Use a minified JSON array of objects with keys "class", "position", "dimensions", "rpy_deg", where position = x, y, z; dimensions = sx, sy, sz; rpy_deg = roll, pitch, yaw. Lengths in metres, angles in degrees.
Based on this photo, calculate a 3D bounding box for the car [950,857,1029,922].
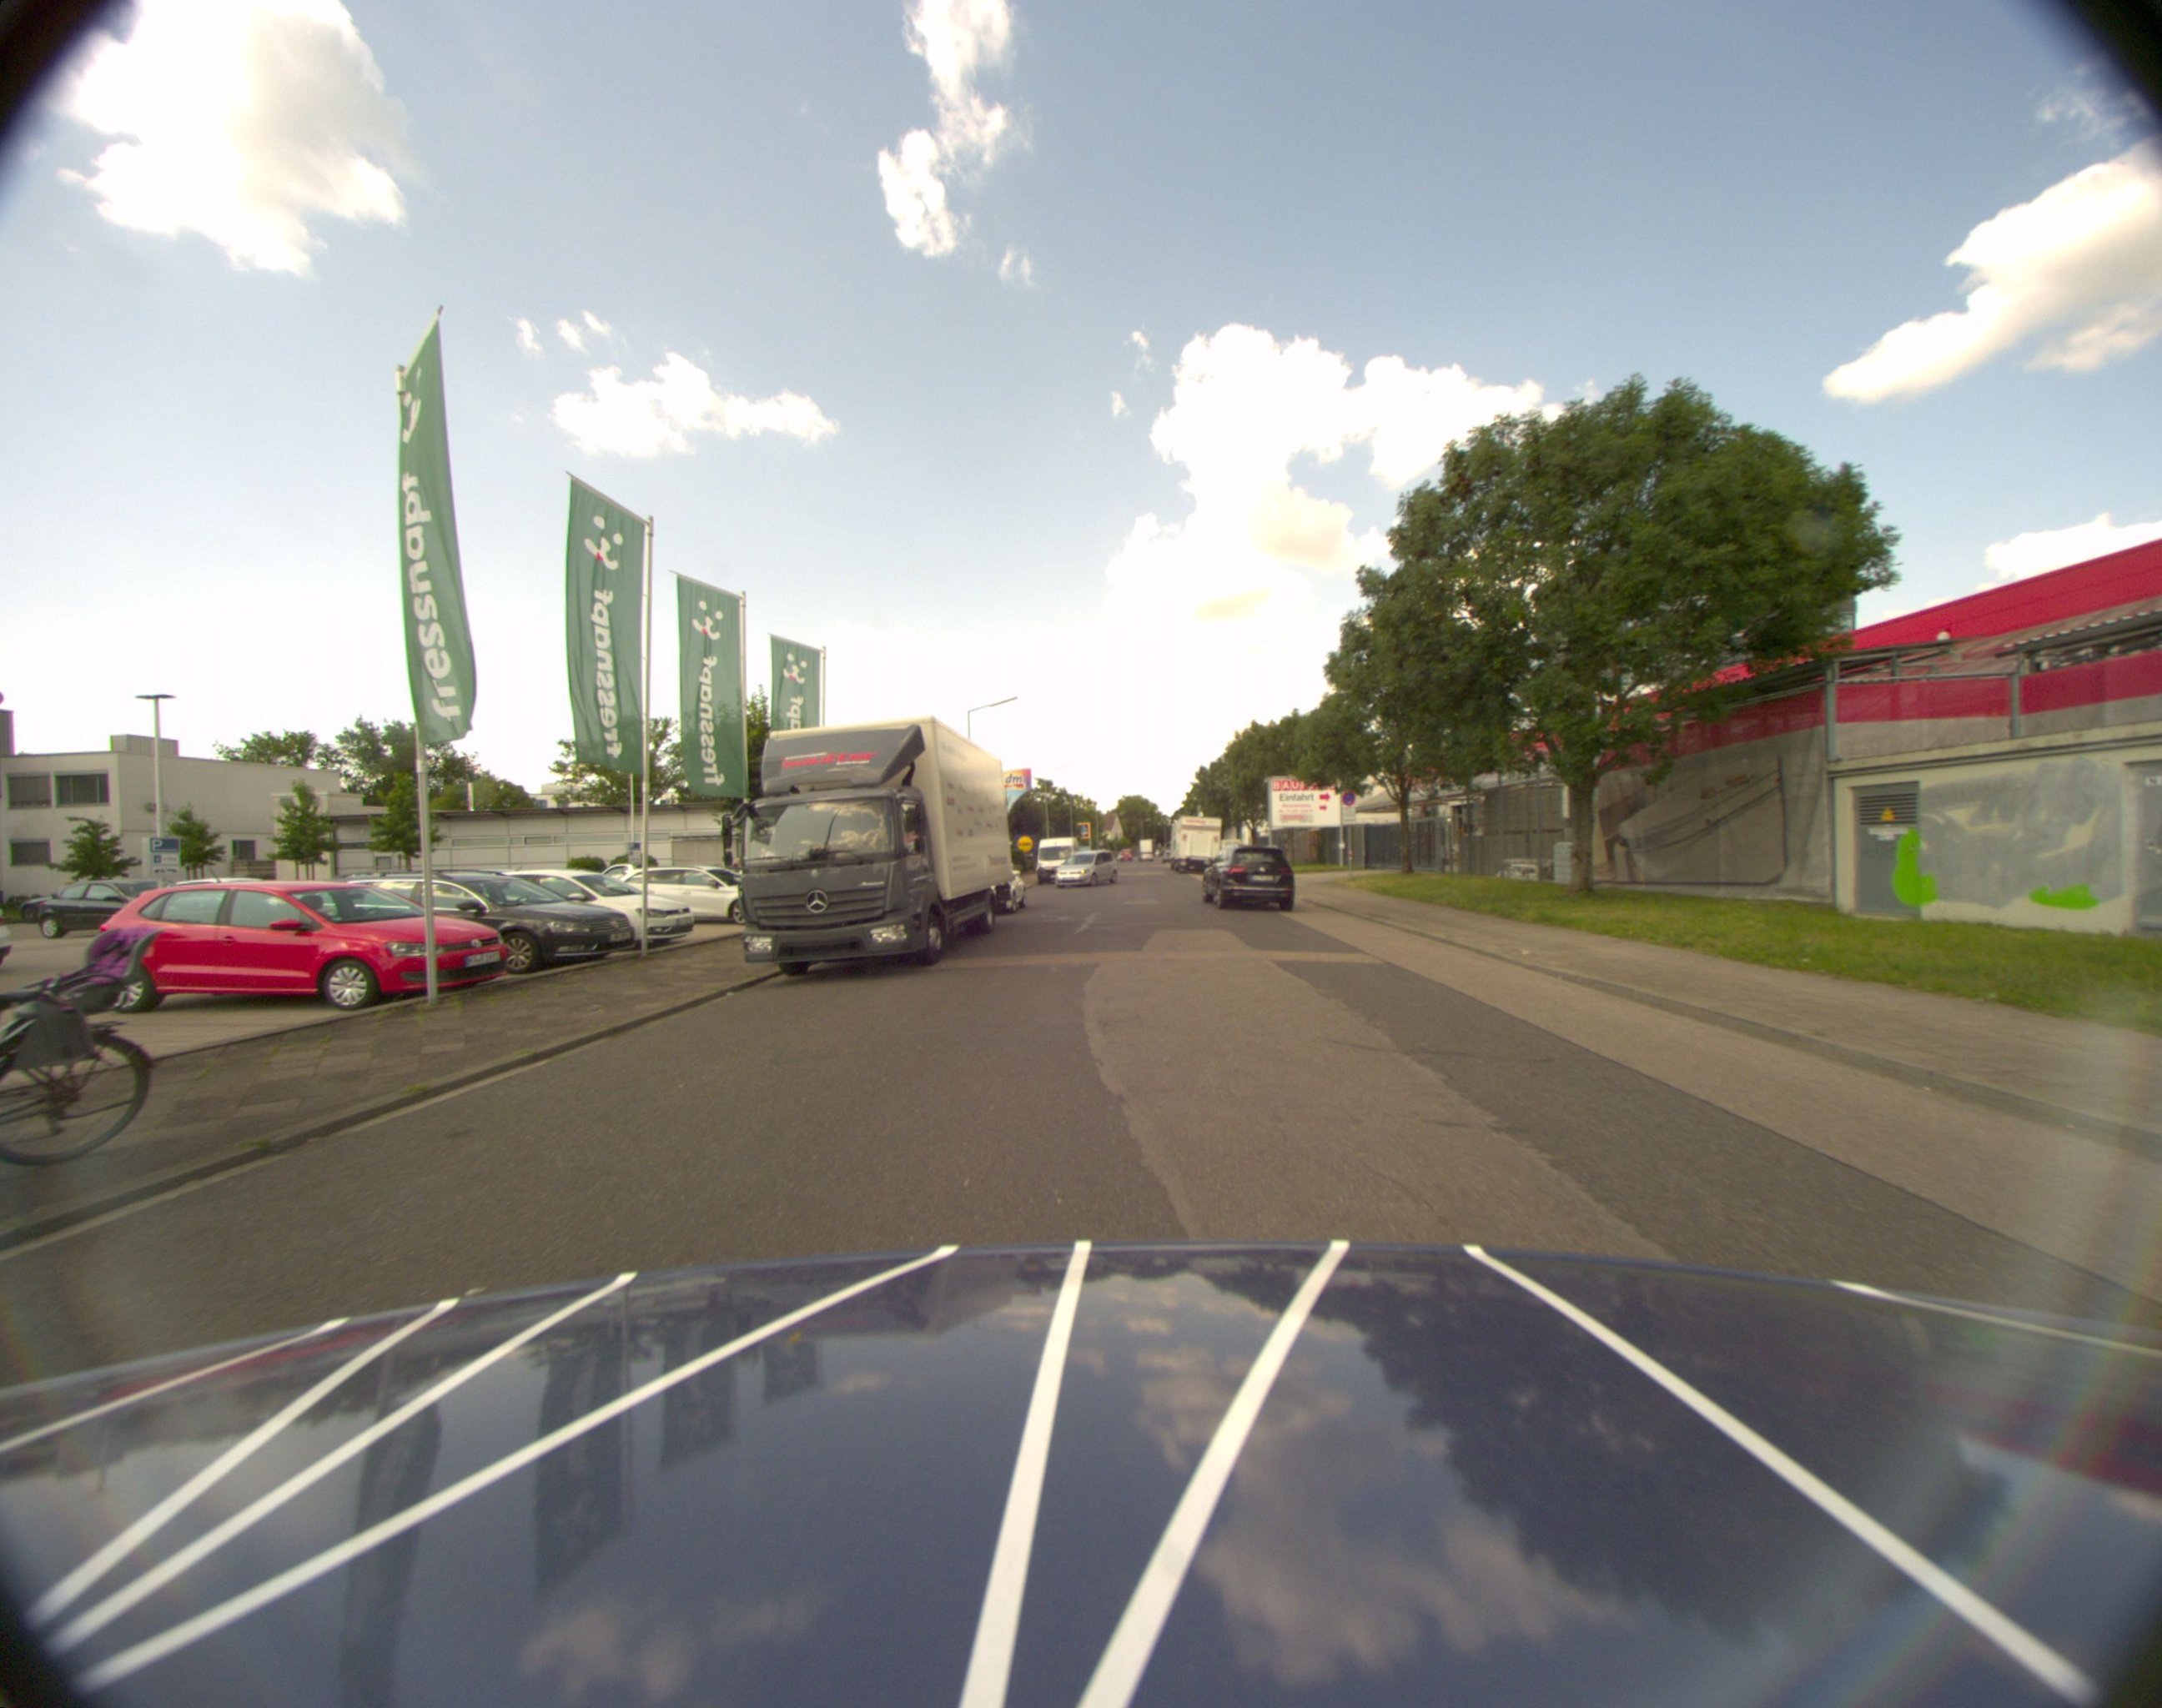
[{"class":"car","position":[-2.487,0.932,21.479],"dimensions":[1.549,1.502,3.626],"rpy_deg":[-4,0,2]}]

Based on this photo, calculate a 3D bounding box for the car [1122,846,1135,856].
[{"class":"car","position":[6.983,-0.479,112.100],"dimensions":[1.856,1.467,4.001],"rpy_deg":[-2,1,4]}]

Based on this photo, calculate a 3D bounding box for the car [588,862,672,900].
[{"class":"car","position":[-20.072,1.194,33.882],"dimensions":[2.716,1.534,1.647],"rpy_deg":[-2,1,3]}]

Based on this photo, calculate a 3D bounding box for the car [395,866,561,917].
[{"class":"car","position":[-19.294,1.170,24.408],"dimensions":[3.945,1.475,1.724],"rpy_deg":[-1,1,2]}]

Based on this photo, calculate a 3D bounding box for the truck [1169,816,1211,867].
[{"class":"truck","position":[8.624,-0.989,60.735],"dimensions":[2.754,3.787,7.173],"rpy_deg":[0,1,4]}]

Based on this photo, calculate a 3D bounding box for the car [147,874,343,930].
[{"class":"car","position":[-24.817,1.406,22.646],"dimensions":[3.945,1.475,1.724],"rpy_deg":[-1,1,2]}]

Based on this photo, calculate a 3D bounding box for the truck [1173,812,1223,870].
[{"class":"truck","position":[7.951,-0.887,52.321],"dimensions":[2.754,3.702,7.172],"rpy_deg":[0,1,4]}]

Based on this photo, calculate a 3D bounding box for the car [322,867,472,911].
[{"class":"car","position":[-25.022,1.257,27.899],"dimensions":[3.945,1.475,1.724],"rpy_deg":[-1,1,2]}]

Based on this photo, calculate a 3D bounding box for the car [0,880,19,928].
[{"class":"car","position":[-36.100,1.618,23.506],"dimensions":[4.140,1.475,1.724],"rpy_deg":[-1,1,2]}]

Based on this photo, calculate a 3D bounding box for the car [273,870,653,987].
[{"class":"car","position":[-9.205,1.071,11.605],"dimensions":[4.297,1.533,1.748],"rpy_deg":[-1,1,-1]}]

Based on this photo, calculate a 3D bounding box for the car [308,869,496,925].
[{"class":"car","position":[-19.732,1.225,22.187],"dimensions":[3.945,1.475,1.724],"rpy_deg":[-1,1,2]}]

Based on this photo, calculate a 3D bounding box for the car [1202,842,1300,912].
[{"class":"car","position":[4.381,0.521,20.221],"dimensions":[1.878,1.611,4.294],"rpy_deg":[2,1,4]}]

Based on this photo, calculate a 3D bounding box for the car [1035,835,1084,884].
[{"class":"car","position":[-1.117,0.244,42.020],"dimensions":[2.056,2.395,5.455],"rpy_deg":[-4,0,4]}]

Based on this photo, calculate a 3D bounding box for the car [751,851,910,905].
[{"class":"car","position":[-8.768,0.822,26.848],"dimensions":[4.904,1.777,1.903],"rpy_deg":[-1,1,3]}]

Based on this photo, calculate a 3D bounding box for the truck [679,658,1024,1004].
[{"class":"truck","position":[-3.182,-0.305,13.578],"dimensions":[2.784,4.092,8.280],"rpy_deg":[-4,0,4]}]

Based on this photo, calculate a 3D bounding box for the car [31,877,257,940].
[{"class":"car","position":[-24.916,1.423,20.302],"dimensions":[3.945,1.475,1.724],"rpy_deg":[-1,1,2]}]

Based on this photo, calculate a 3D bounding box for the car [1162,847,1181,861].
[{"class":"car","position":[10.887,-0.054,91.696],"dimensions":[1.982,1.565,4.001],"rpy_deg":[-2,1,4]}]

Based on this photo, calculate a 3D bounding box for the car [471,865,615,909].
[{"class":"car","position":[-19.307,1.166,27.383],"dimensions":[3.945,1.475,1.724],"rpy_deg":[-1,1,2]}]

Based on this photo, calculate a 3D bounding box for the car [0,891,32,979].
[{"class":"car","position":[-20.384,1.421,12.489],"dimensions":[3.945,1.475,1.724],"rpy_deg":[-1,1,2]}]

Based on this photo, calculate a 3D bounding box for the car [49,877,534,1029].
[{"class":"car","position":[-9.171,1.097,9.114],"dimensions":[3.894,1.514,1.748],"rpy_deg":[-1,1,-1]}]

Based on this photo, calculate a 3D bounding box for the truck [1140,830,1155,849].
[{"class":"truck","position":[15.026,-3.195,172.041],"dimensions":[2.978,4.132,9.668],"rpy_deg":[-2,1,4]}]

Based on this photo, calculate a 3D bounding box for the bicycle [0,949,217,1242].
[{"class":"bicycle","position":[-5.705,1.256,3.679],"dimensions":[0.793,1.288,1.883],"rpy_deg":[2,2,6]}]

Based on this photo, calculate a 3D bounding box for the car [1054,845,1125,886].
[{"class":"car","position":[0.477,0.495,35.782],"dimensions":[1.742,1.674,4.598],"rpy_deg":[-3,1,21]}]

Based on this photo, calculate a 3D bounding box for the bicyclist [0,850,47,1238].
[{"class":"bicyclist","position":[-5.706,0.930,3.489],"dimensions":[0.796,1.900,0.829],"rpy_deg":[2,2,6]}]

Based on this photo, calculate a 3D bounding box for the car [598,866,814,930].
[{"class":"car","position":[-9.300,1.065,19.092],"dimensions":[4.491,1.429,1.859],"rpy_deg":[-1,1,3]}]

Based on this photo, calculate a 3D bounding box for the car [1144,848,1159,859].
[{"class":"car","position":[10.253,-0.081,110.315],"dimensions":[1.982,1.467,4.001],"rpy_deg":[-2,1,4]}]

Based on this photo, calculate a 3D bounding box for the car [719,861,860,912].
[{"class":"car","position":[-9.224,1.000,24.179],"dimensions":[3.819,1.490,1.654],"rpy_deg":[-1,1,5]}]

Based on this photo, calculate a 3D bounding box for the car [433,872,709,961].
[{"class":"car","position":[-9.312,1.107,14.130],"dimensions":[3.894,1.424,1.748],"rpy_deg":[-1,1,-1]}]
